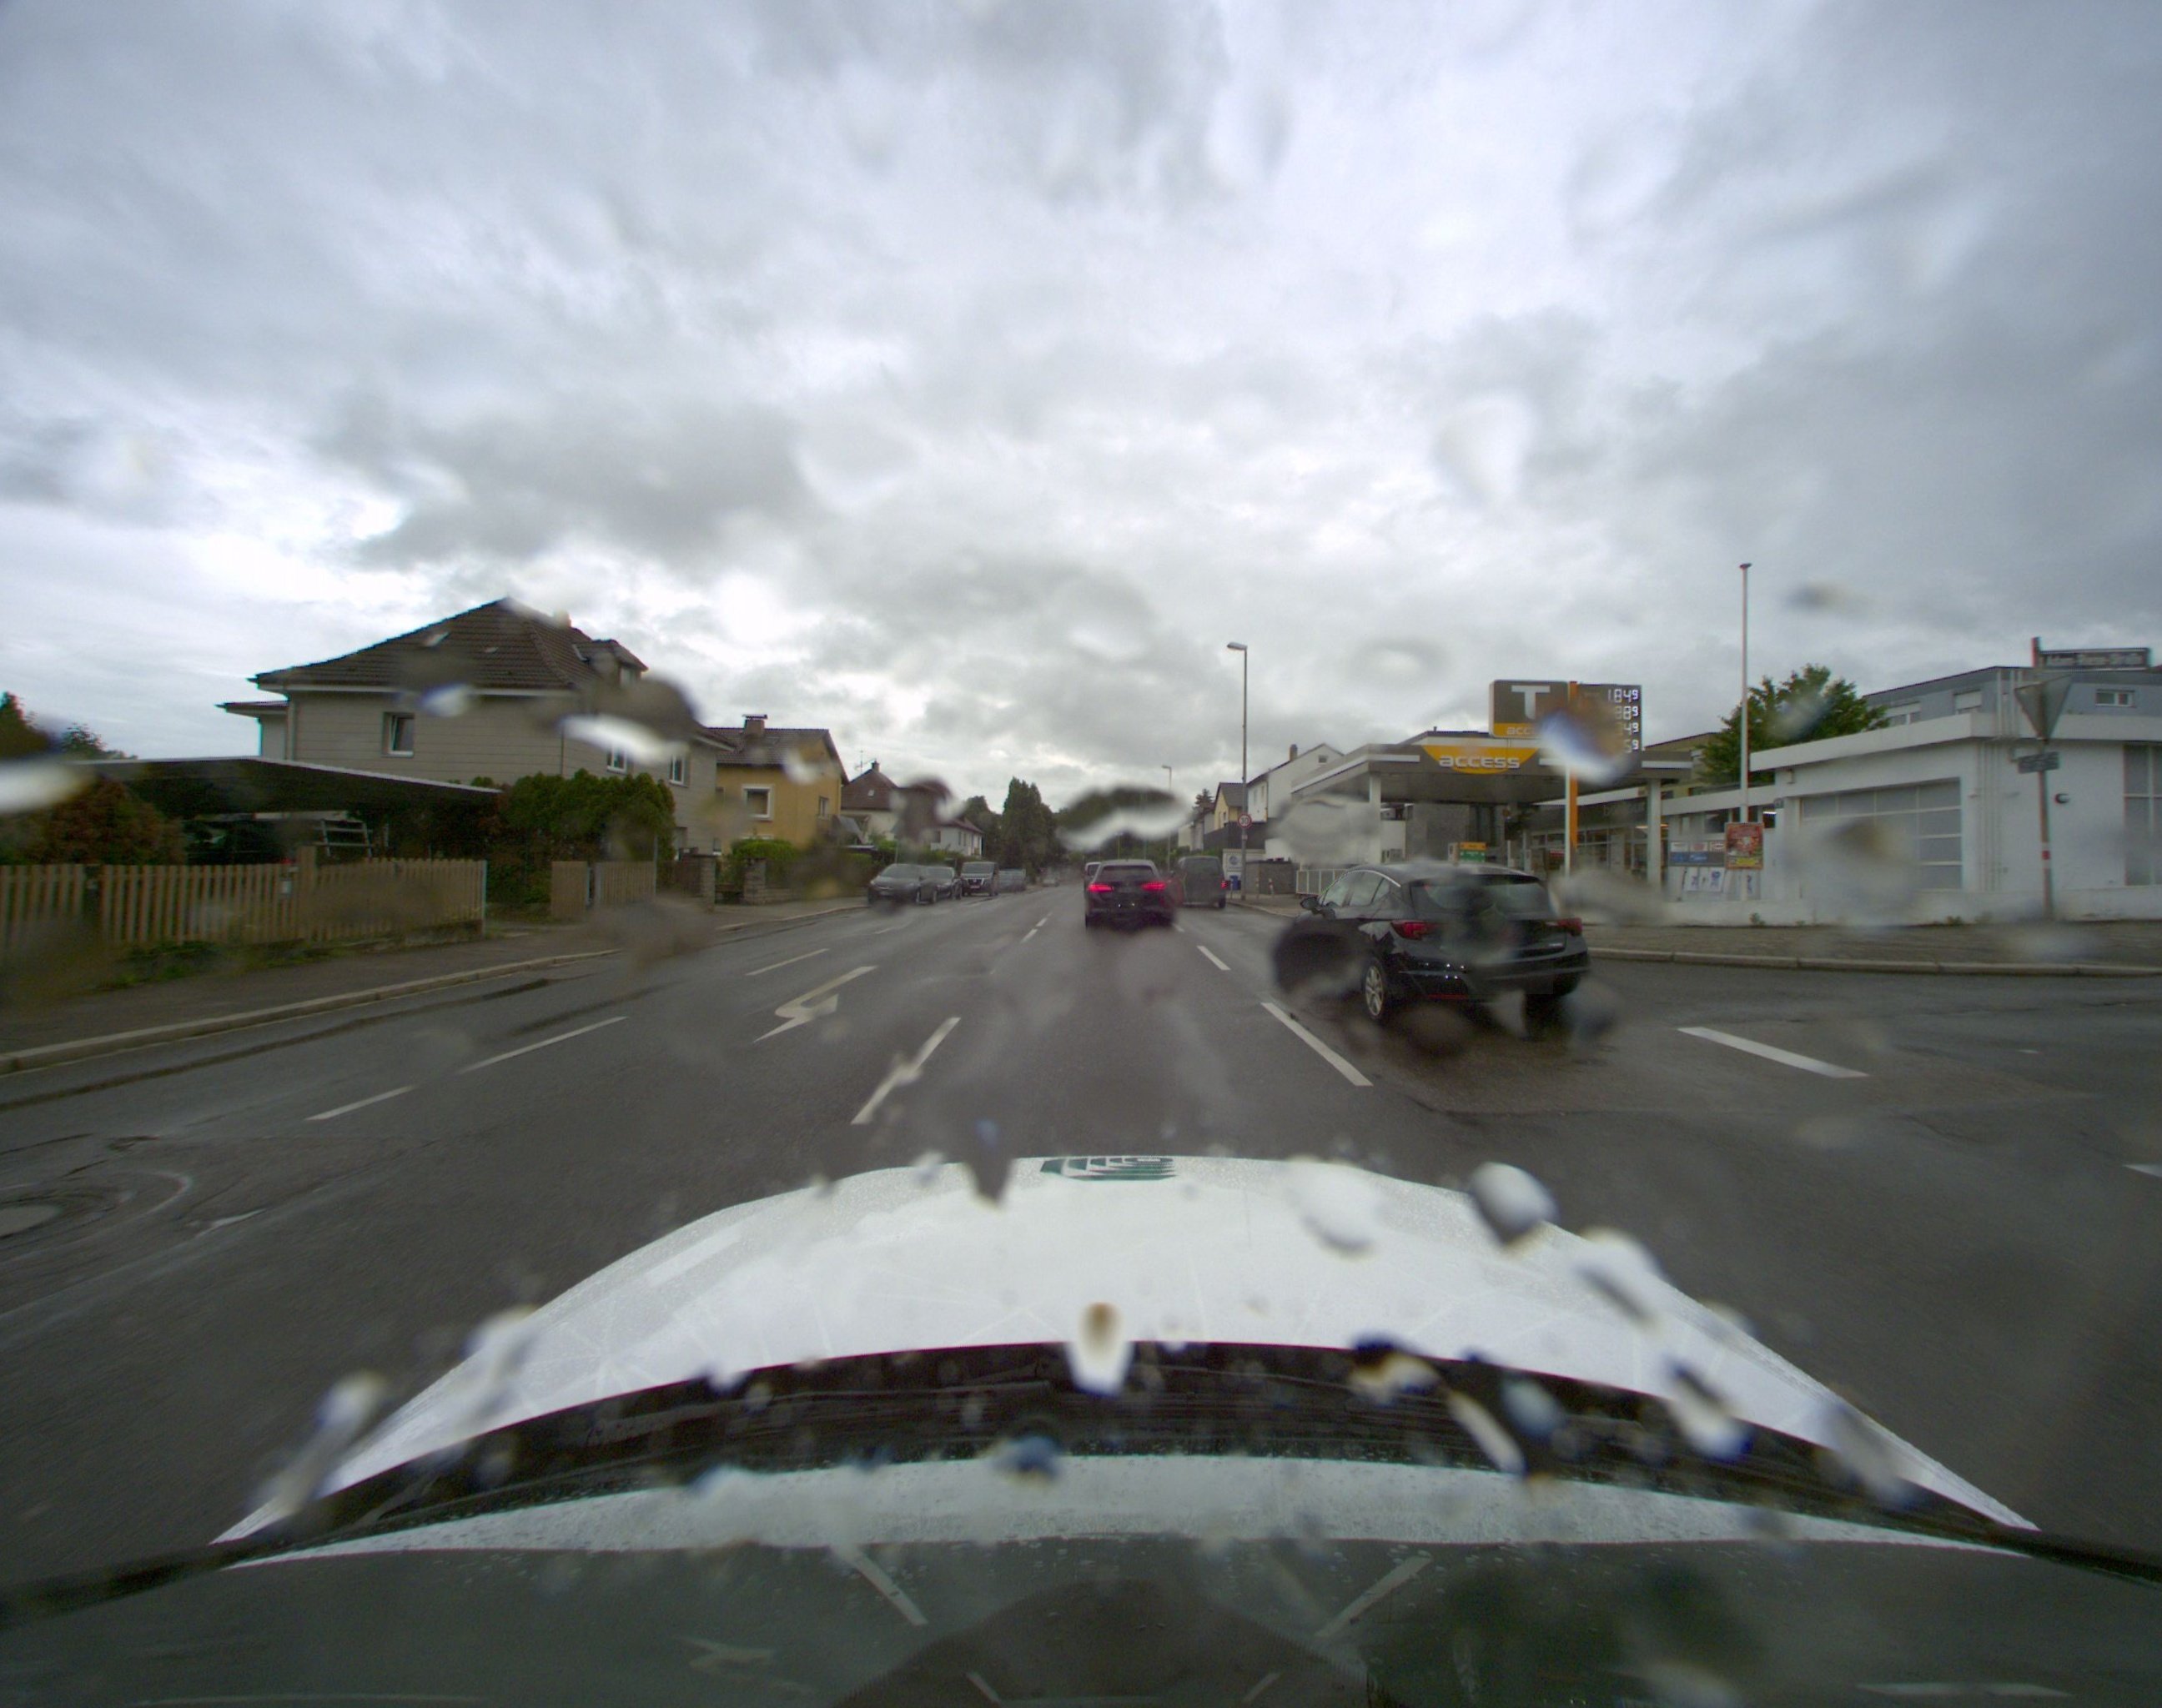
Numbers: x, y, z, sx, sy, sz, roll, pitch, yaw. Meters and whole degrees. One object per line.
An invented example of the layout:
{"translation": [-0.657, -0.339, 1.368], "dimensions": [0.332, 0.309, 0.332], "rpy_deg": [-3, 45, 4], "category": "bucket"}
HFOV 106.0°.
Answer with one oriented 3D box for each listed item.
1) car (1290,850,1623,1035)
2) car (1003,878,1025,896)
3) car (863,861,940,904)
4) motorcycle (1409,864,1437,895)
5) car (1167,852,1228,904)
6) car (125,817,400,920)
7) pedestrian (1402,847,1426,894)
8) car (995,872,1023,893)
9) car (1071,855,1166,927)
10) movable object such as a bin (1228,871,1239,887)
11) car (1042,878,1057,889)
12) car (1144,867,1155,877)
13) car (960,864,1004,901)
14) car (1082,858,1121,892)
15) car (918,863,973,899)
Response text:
{"translation": [3.496, 0.726, 8.483], "dimensions": [1.749, 1.449, 4.002], "rpy_deg": [-1, -1, 2], "category": "car"}
{"translation": [-5.557, 2.761, 68.367], "dimensions": [1.546, 1.431, 4.012], "rpy_deg": [1, -2, -1], "category": "car"}
{"translation": [-6.555, 1.055, 30.168], "dimensions": [1.743, 1.440, 4.131], "rpy_deg": [0, -2, 2], "category": "car"}
{"translation": [12.023, 0.893, 28.648], "dimensions": [0.460, 1.055, 1.391], "rpy_deg": [1, -2, 2], "category": "motorcycle"}
{"translation": [4.247, 0.899, 30.175], "dimensions": [1.831, 1.767, 4.001], "rpy_deg": [1, -2, 2], "category": "car"}
{"translation": [-17.077, 0.308, 17.128], "dimensions": [3.966, 1.954, 2.004], "rpy_deg": [-1, 0, 6], "category": "car"}
{"translation": [11.829, 0.586, 28.924], "dimensions": [0.607, 1.656, 0.586], "rpy_deg": [1, -2, 1], "category": "pedestrian"}
{"translation": [-5.446, 2.166, 62.178], "dimensions": [1.752, 1.533, 4.284], "rpy_deg": [1, -2, -1], "category": "car"}
{"translation": [0.873, 0.841, 19.075], "dimensions": [1.986, 1.484, 4.002], "rpy_deg": [0, -2, 2], "category": "car"}
{"translation": [10.731, 1.776, 57.274], "dimensions": [0.593, 1.105, 0.667], "rpy_deg": [-2, -2, 1], "category": "movable object such as a bin"}
{"translation": [-4.437, 4.174, 114.979], "dimensions": [1.877, 1.585, 4.001], "rpy_deg": [1, -2, 2], "category": "car"}
{"translation": [15.828, 4.194, 188.836], "dimensions": [2.510, 2.013, 5.616], "rpy_deg": [1, 1, 5], "category": "car"}
{"translation": [-5.648, 1.647, 46.968], "dimensions": [1.907, 2.003, 5.085], "rpy_deg": [1, -2, -1], "category": "car"}
{"translation": [1.125, 1.176, 44.052], "dimensions": [1.986, 1.738, 4.001], "rpy_deg": [1, -2, 2], "category": "car"}
{"translation": [-6.032, 1.234, 36.717], "dimensions": [1.745, 1.517, 4.525], "rpy_deg": [1, -2, -1], "category": "car"}
